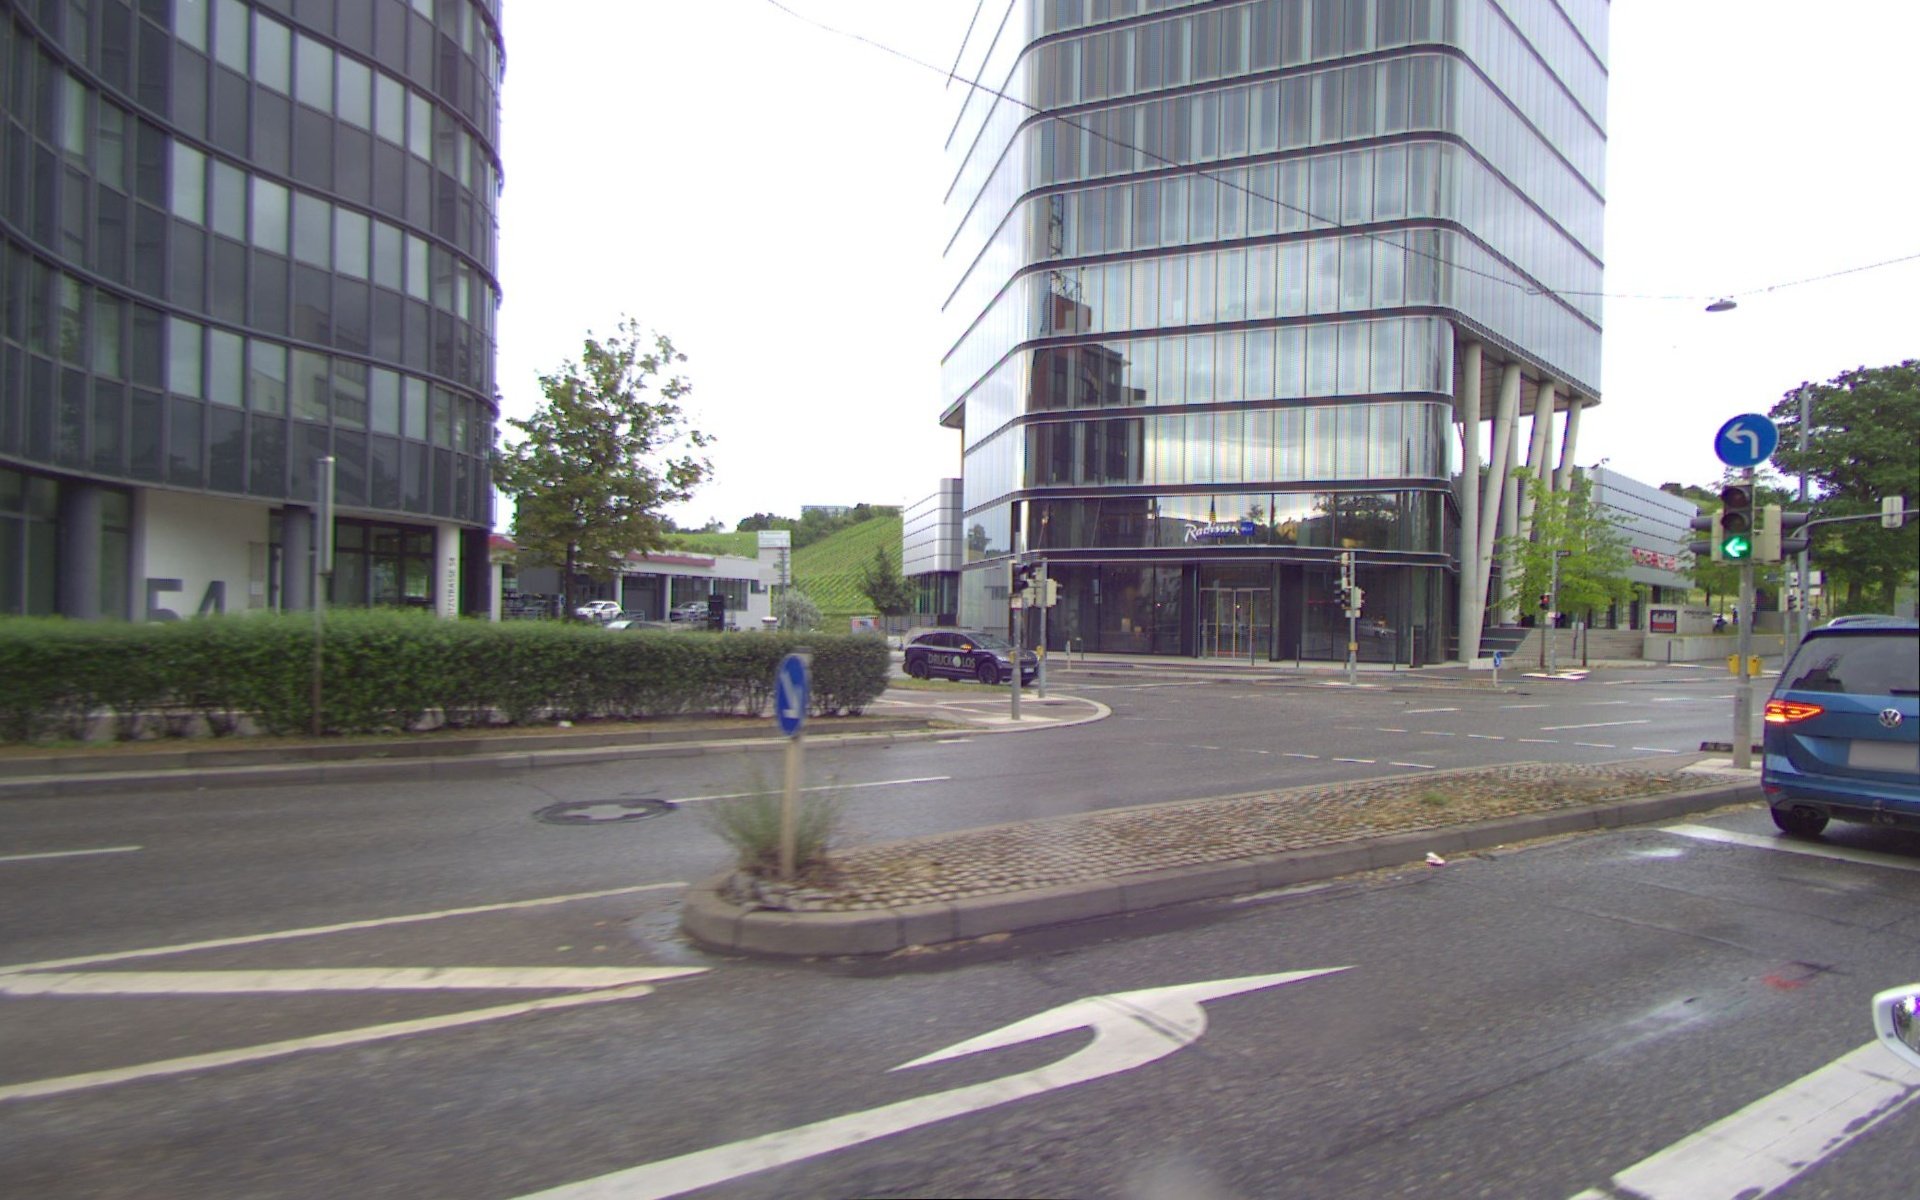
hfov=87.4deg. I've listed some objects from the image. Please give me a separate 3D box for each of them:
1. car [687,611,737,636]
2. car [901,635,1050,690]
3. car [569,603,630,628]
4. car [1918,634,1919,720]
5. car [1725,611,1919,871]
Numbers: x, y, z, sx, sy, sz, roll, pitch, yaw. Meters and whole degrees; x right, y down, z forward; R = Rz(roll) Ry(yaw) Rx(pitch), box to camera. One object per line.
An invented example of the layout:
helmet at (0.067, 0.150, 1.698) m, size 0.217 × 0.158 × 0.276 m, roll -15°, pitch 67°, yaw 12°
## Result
car at (-19.487, 1.855, 79.124) m, size 1.765 × 1.874 × 3.999 m, roll 0°, pitch -2°, yaw 23°
car at (0.414, 1.817, 30.182) m, size 4.307 × 1.530 × 1.848 m, roll -2°, pitch -2°, yaw 40°
car at (-24.658, 1.075, 68.784) m, size 1.782 × 1.672 × 3.815 m, roll 0°, pitch -2°, yaw 23°
car at (16.760, 1.319, 16.015) m, size 1.825 × 1.530 × 4.030 m, roll 0°, pitch -2°, yaw 39°
car at (7.713, 0.938, 7.474) m, size 4.147 × 1.617 × 1.764 m, roll 2°, pitch -2°, yaw -30°
